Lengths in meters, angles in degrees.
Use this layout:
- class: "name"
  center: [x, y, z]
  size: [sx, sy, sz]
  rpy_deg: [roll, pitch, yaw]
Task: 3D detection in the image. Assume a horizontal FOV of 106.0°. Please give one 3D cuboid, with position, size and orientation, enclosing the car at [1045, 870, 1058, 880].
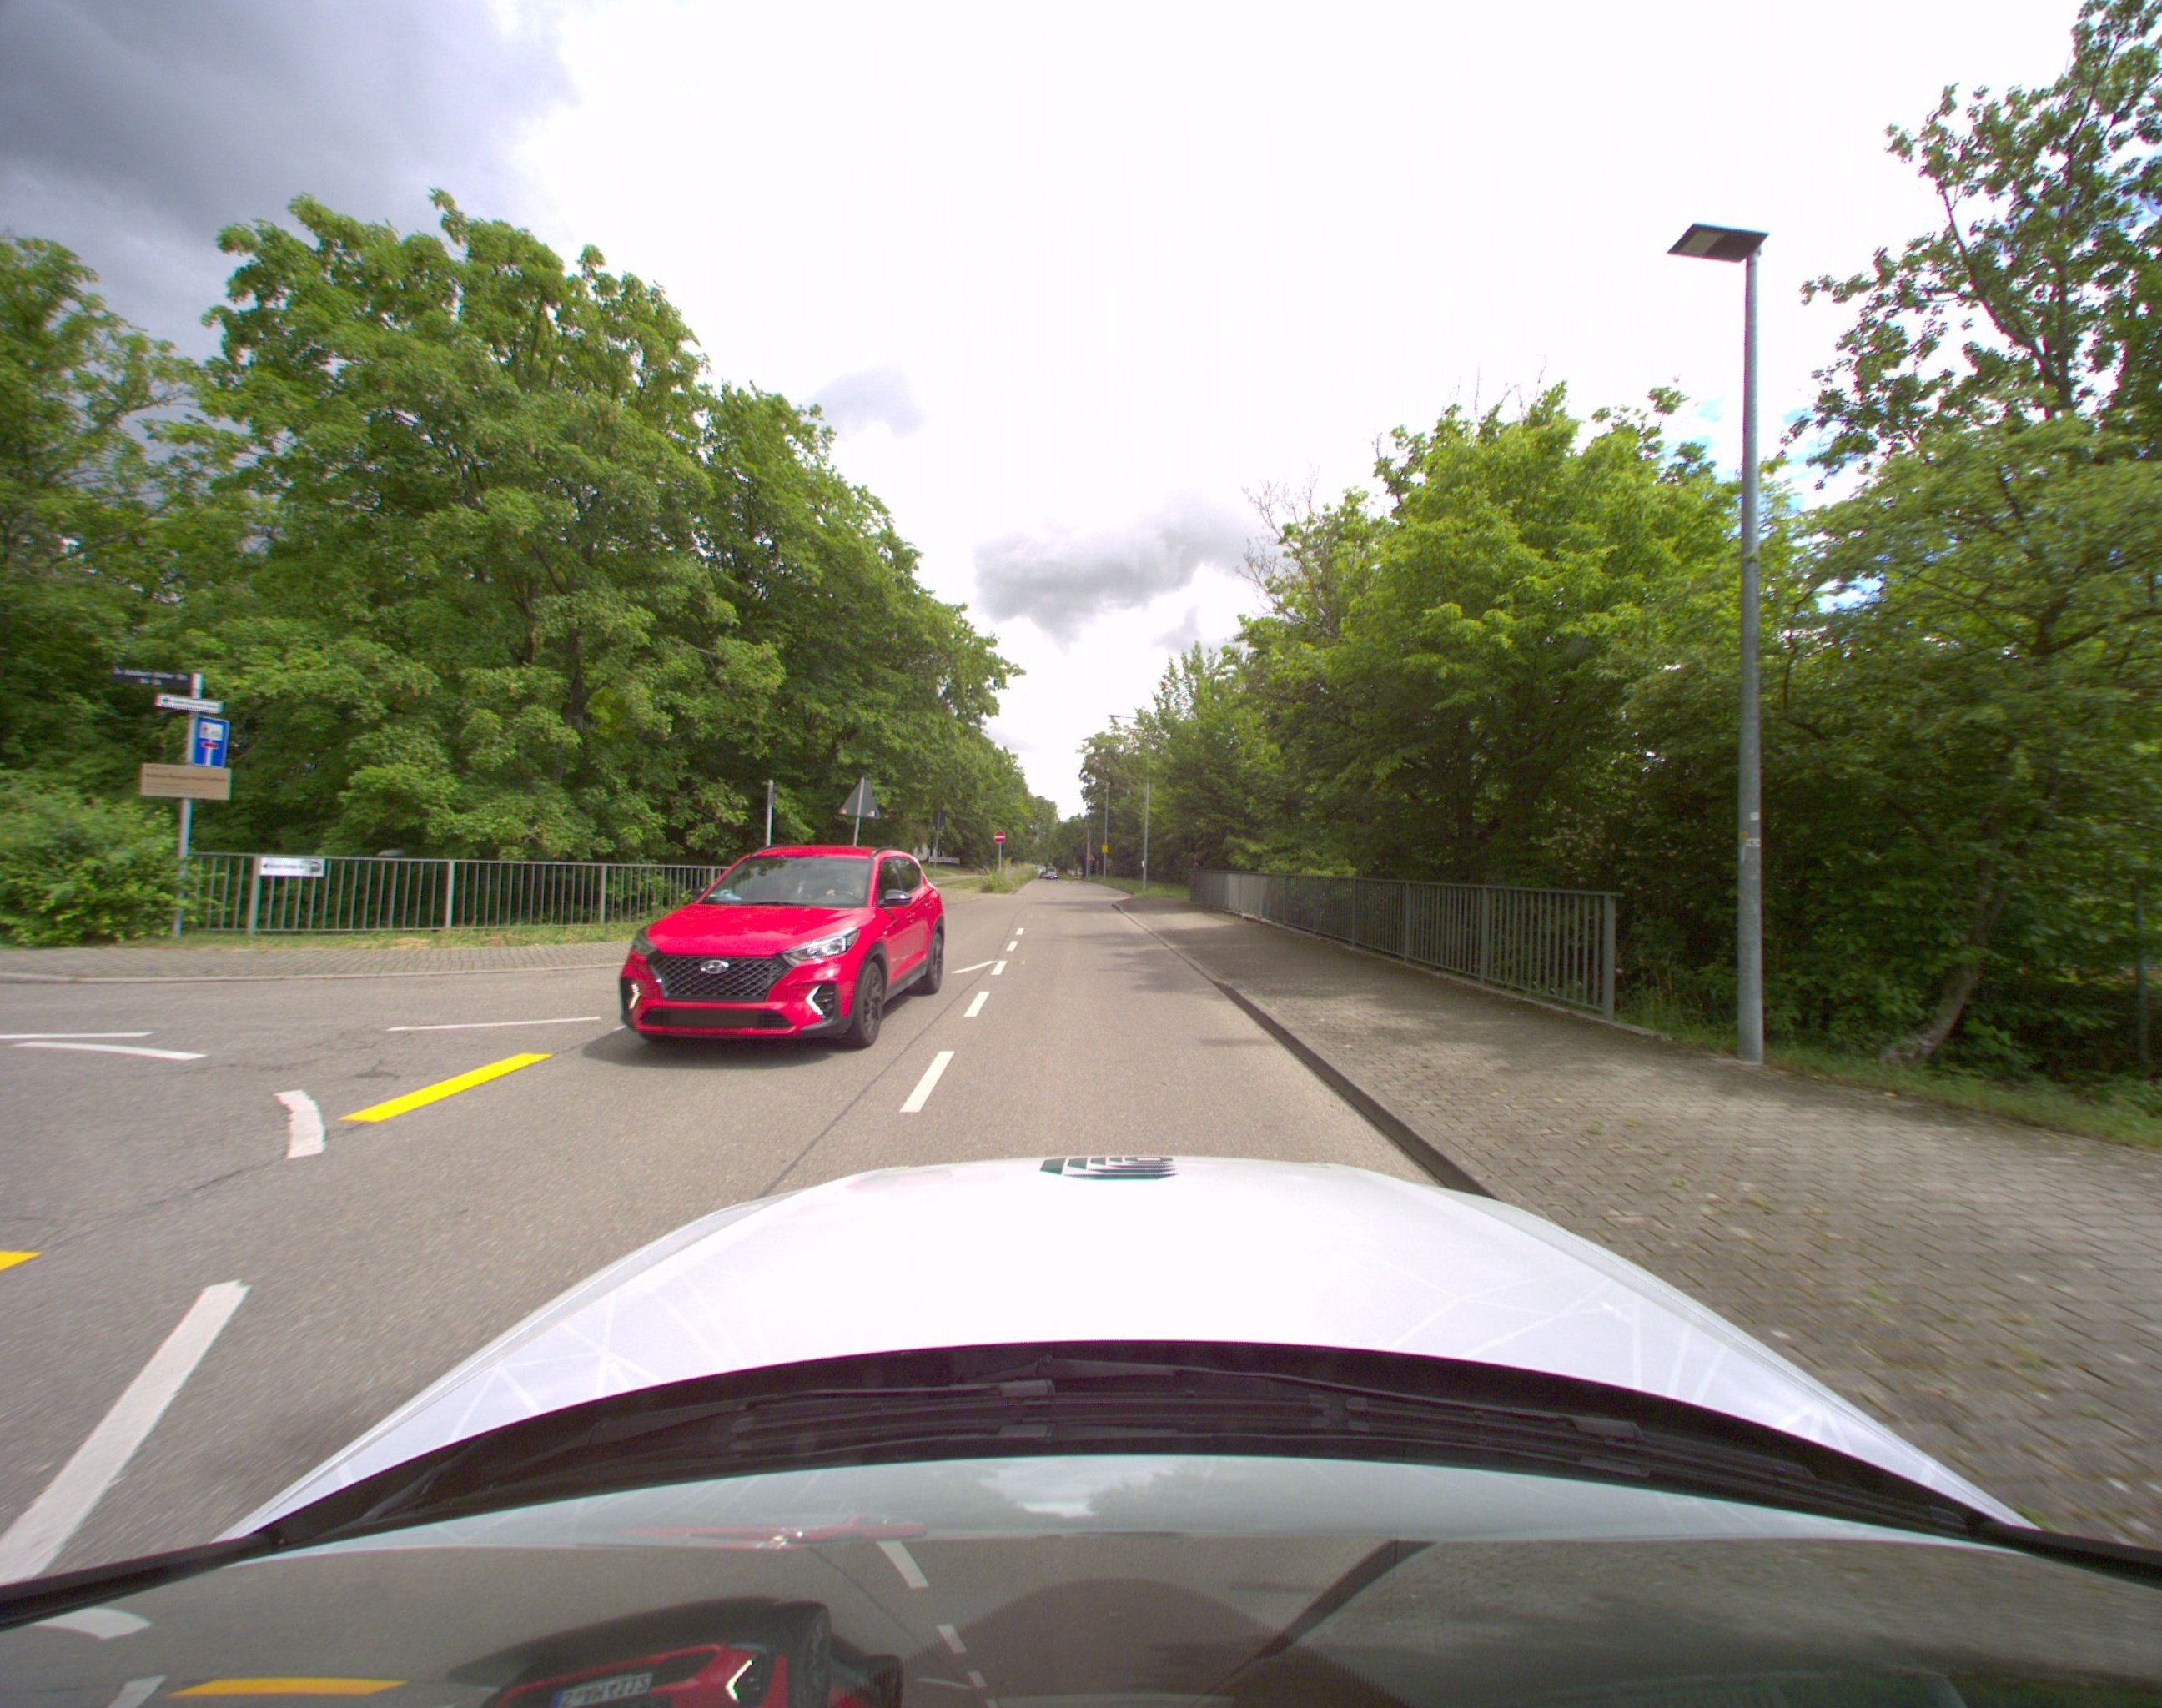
- class: "car"
  center: [-4.480, 3.194, 123.729]
  size: [1.687, 1.349, 4.094]
  rpy_deg: [1, -1, 1]

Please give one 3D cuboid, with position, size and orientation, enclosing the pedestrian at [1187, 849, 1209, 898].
- class: "pedestrian"
  center: [4.374, 0.725, 30.478]
  size: [0.587, 1.783, 0.680]
  rpy_deg: [1, -2, -11]

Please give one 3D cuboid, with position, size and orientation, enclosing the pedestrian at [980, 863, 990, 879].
- class: "pedestrian"
  center: [-12.345, 2.239, 104.884]
  size: [0.867, 2.014, 0.872]
  rpy_deg: [-4, -6, 43]

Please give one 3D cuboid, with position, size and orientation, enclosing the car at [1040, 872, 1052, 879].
- class: "car"
  center: [-7.527, 4.567, 176.008]
  size: [1.969, 1.384, 4.005]
  rpy_deg: [2, -2, 5]

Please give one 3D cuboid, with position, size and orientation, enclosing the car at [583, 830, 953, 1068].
- class: "car"
  center: [-2.554, 0.680, 7.887]
  size: [1.836, 1.659, 4.222]
  rpy_deg: [1, 0, 1]
